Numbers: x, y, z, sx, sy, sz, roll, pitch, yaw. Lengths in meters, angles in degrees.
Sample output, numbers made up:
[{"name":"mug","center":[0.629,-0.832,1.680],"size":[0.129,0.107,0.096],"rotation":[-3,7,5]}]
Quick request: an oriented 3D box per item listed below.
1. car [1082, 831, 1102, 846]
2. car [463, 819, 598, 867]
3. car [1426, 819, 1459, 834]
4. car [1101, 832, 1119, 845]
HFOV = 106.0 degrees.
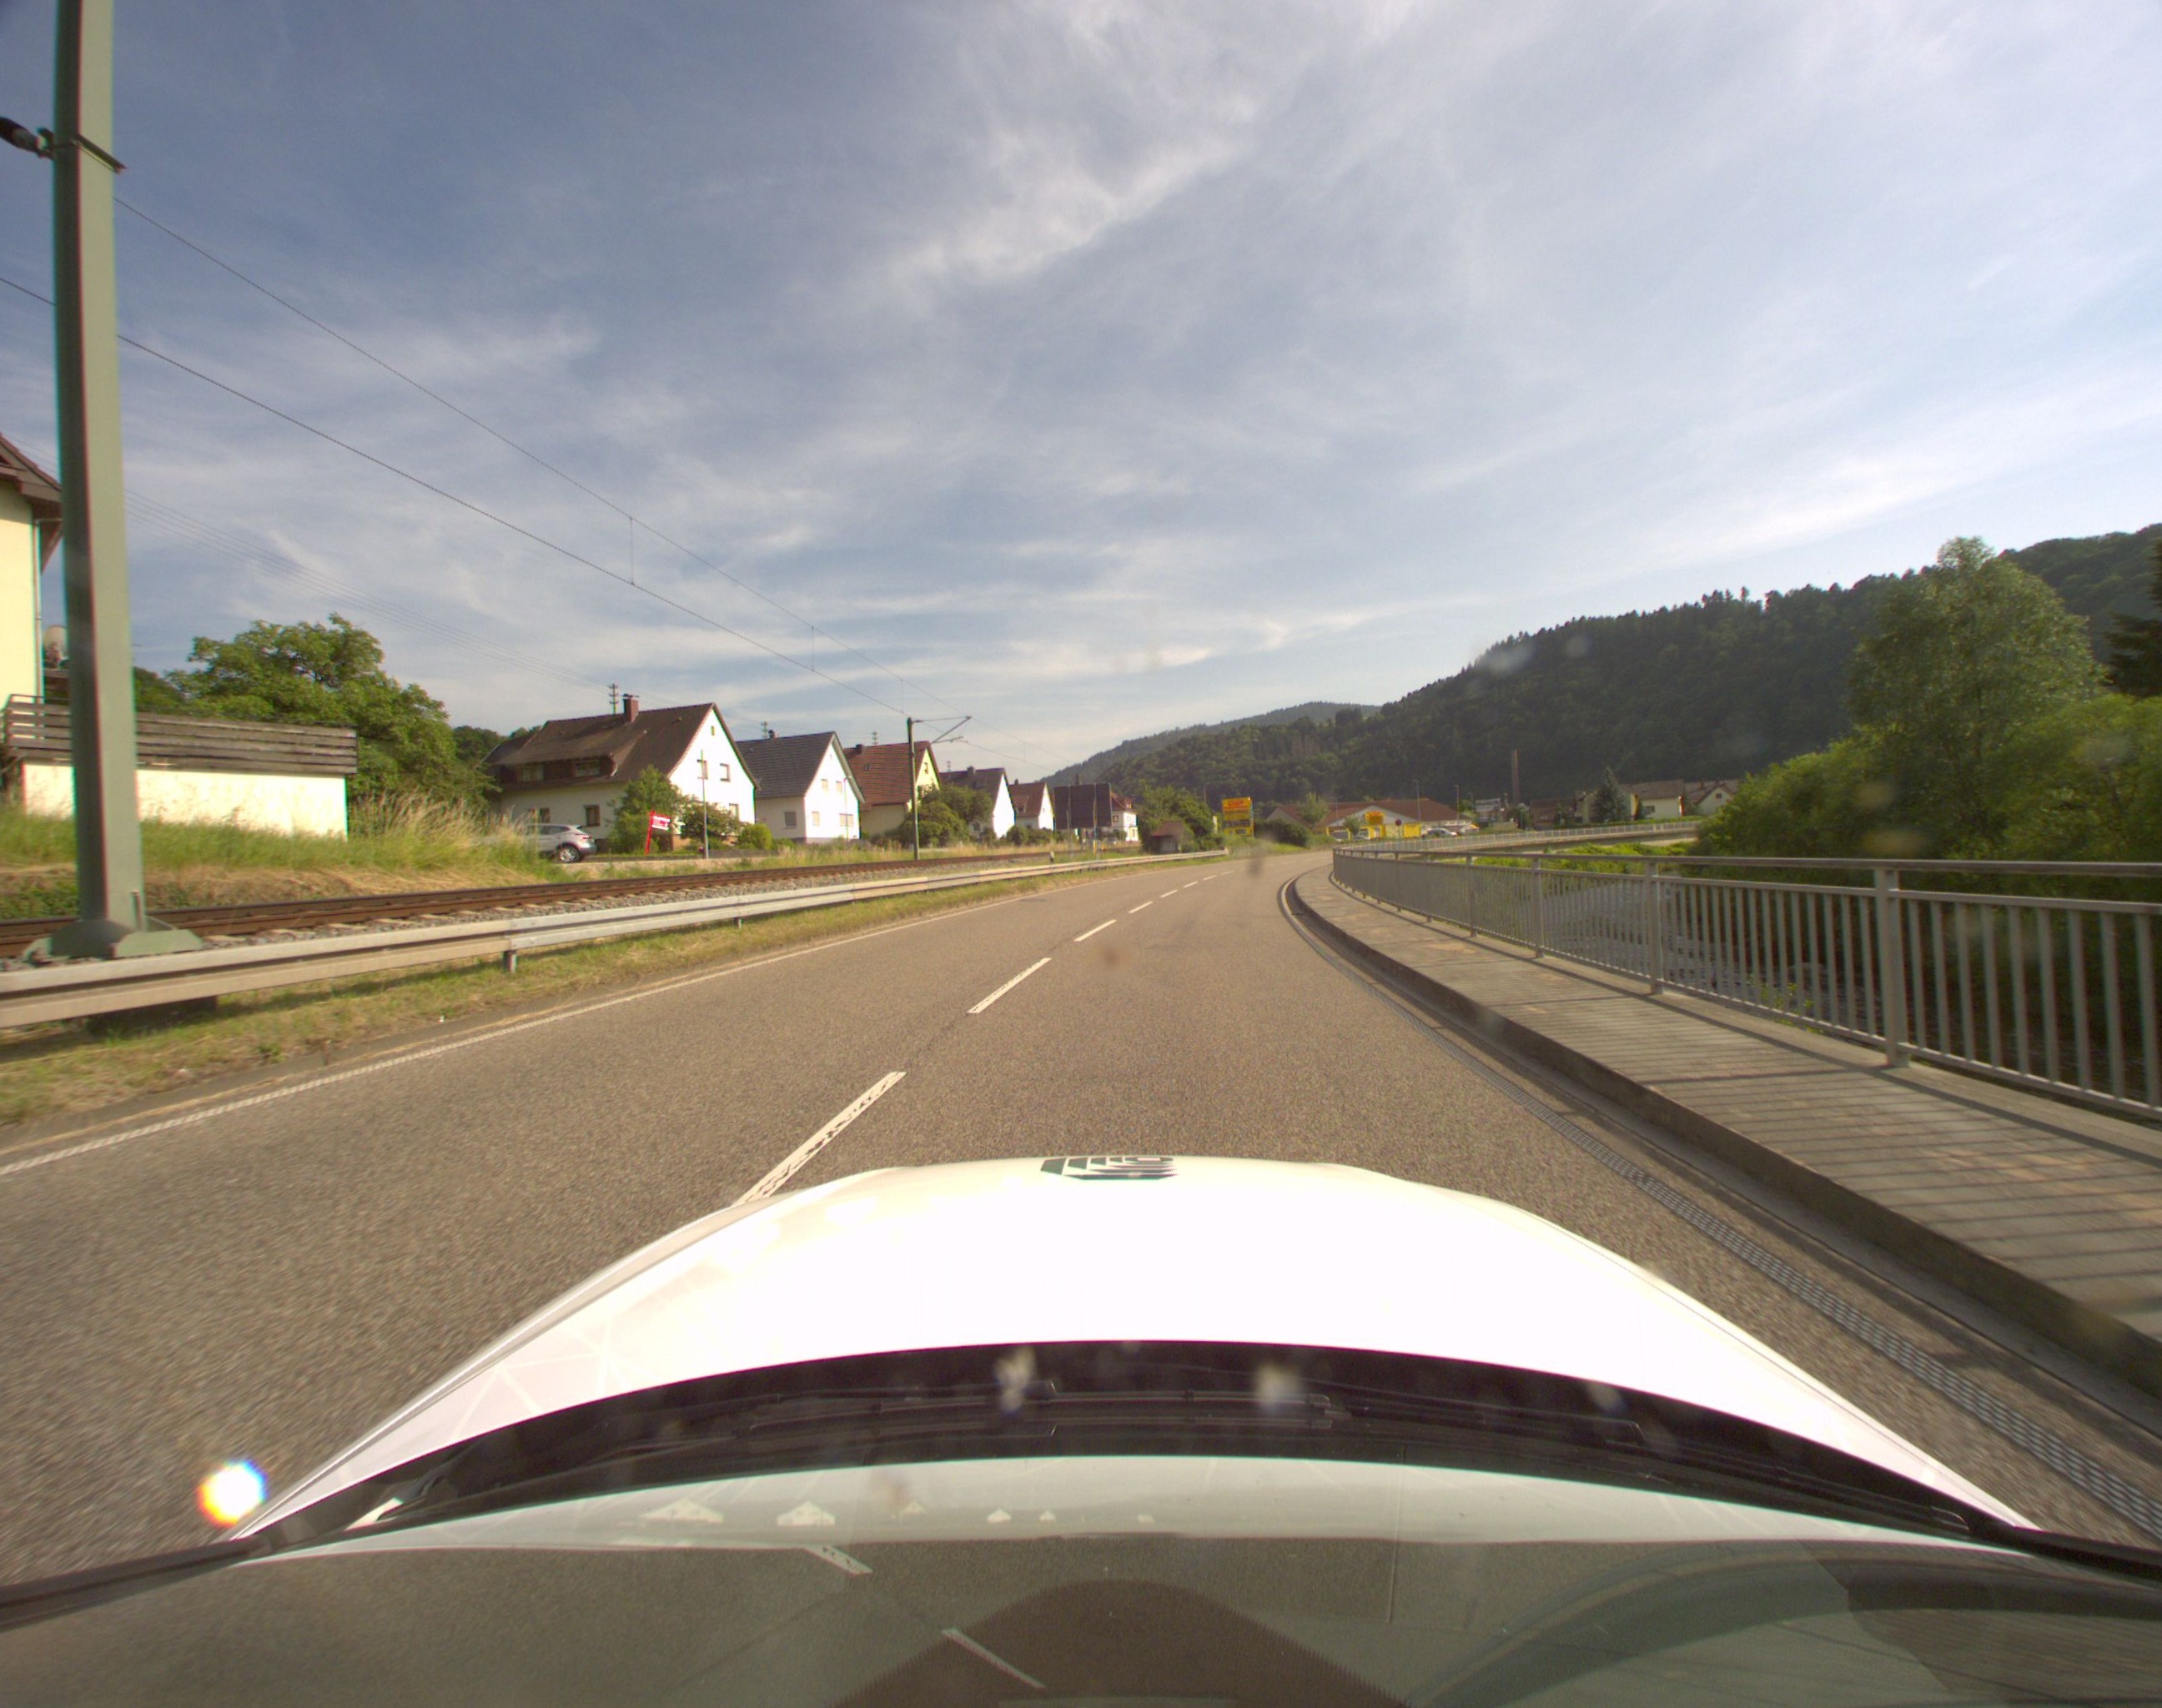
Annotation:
[{"name":"car","center":[1.531,-2.127,112.968],"size":[1.981,1.881,4.012],"rotation":[4,1,11]},{"name":"car","center":[-21.117,-0.483,31.444],"size":[4.035,1.674,1.636],"rotation":[-2,4,-27]},{"name":"car","center":[53.093,-4.022,119.733],"size":[2.011,2.014,3.951],"rotation":[3,-3,-43]},{"name":"car","center":[4.509,-2.385,126.399],"size":[1.981,1.881,4.012],"rotation":[4,1,11]}]
